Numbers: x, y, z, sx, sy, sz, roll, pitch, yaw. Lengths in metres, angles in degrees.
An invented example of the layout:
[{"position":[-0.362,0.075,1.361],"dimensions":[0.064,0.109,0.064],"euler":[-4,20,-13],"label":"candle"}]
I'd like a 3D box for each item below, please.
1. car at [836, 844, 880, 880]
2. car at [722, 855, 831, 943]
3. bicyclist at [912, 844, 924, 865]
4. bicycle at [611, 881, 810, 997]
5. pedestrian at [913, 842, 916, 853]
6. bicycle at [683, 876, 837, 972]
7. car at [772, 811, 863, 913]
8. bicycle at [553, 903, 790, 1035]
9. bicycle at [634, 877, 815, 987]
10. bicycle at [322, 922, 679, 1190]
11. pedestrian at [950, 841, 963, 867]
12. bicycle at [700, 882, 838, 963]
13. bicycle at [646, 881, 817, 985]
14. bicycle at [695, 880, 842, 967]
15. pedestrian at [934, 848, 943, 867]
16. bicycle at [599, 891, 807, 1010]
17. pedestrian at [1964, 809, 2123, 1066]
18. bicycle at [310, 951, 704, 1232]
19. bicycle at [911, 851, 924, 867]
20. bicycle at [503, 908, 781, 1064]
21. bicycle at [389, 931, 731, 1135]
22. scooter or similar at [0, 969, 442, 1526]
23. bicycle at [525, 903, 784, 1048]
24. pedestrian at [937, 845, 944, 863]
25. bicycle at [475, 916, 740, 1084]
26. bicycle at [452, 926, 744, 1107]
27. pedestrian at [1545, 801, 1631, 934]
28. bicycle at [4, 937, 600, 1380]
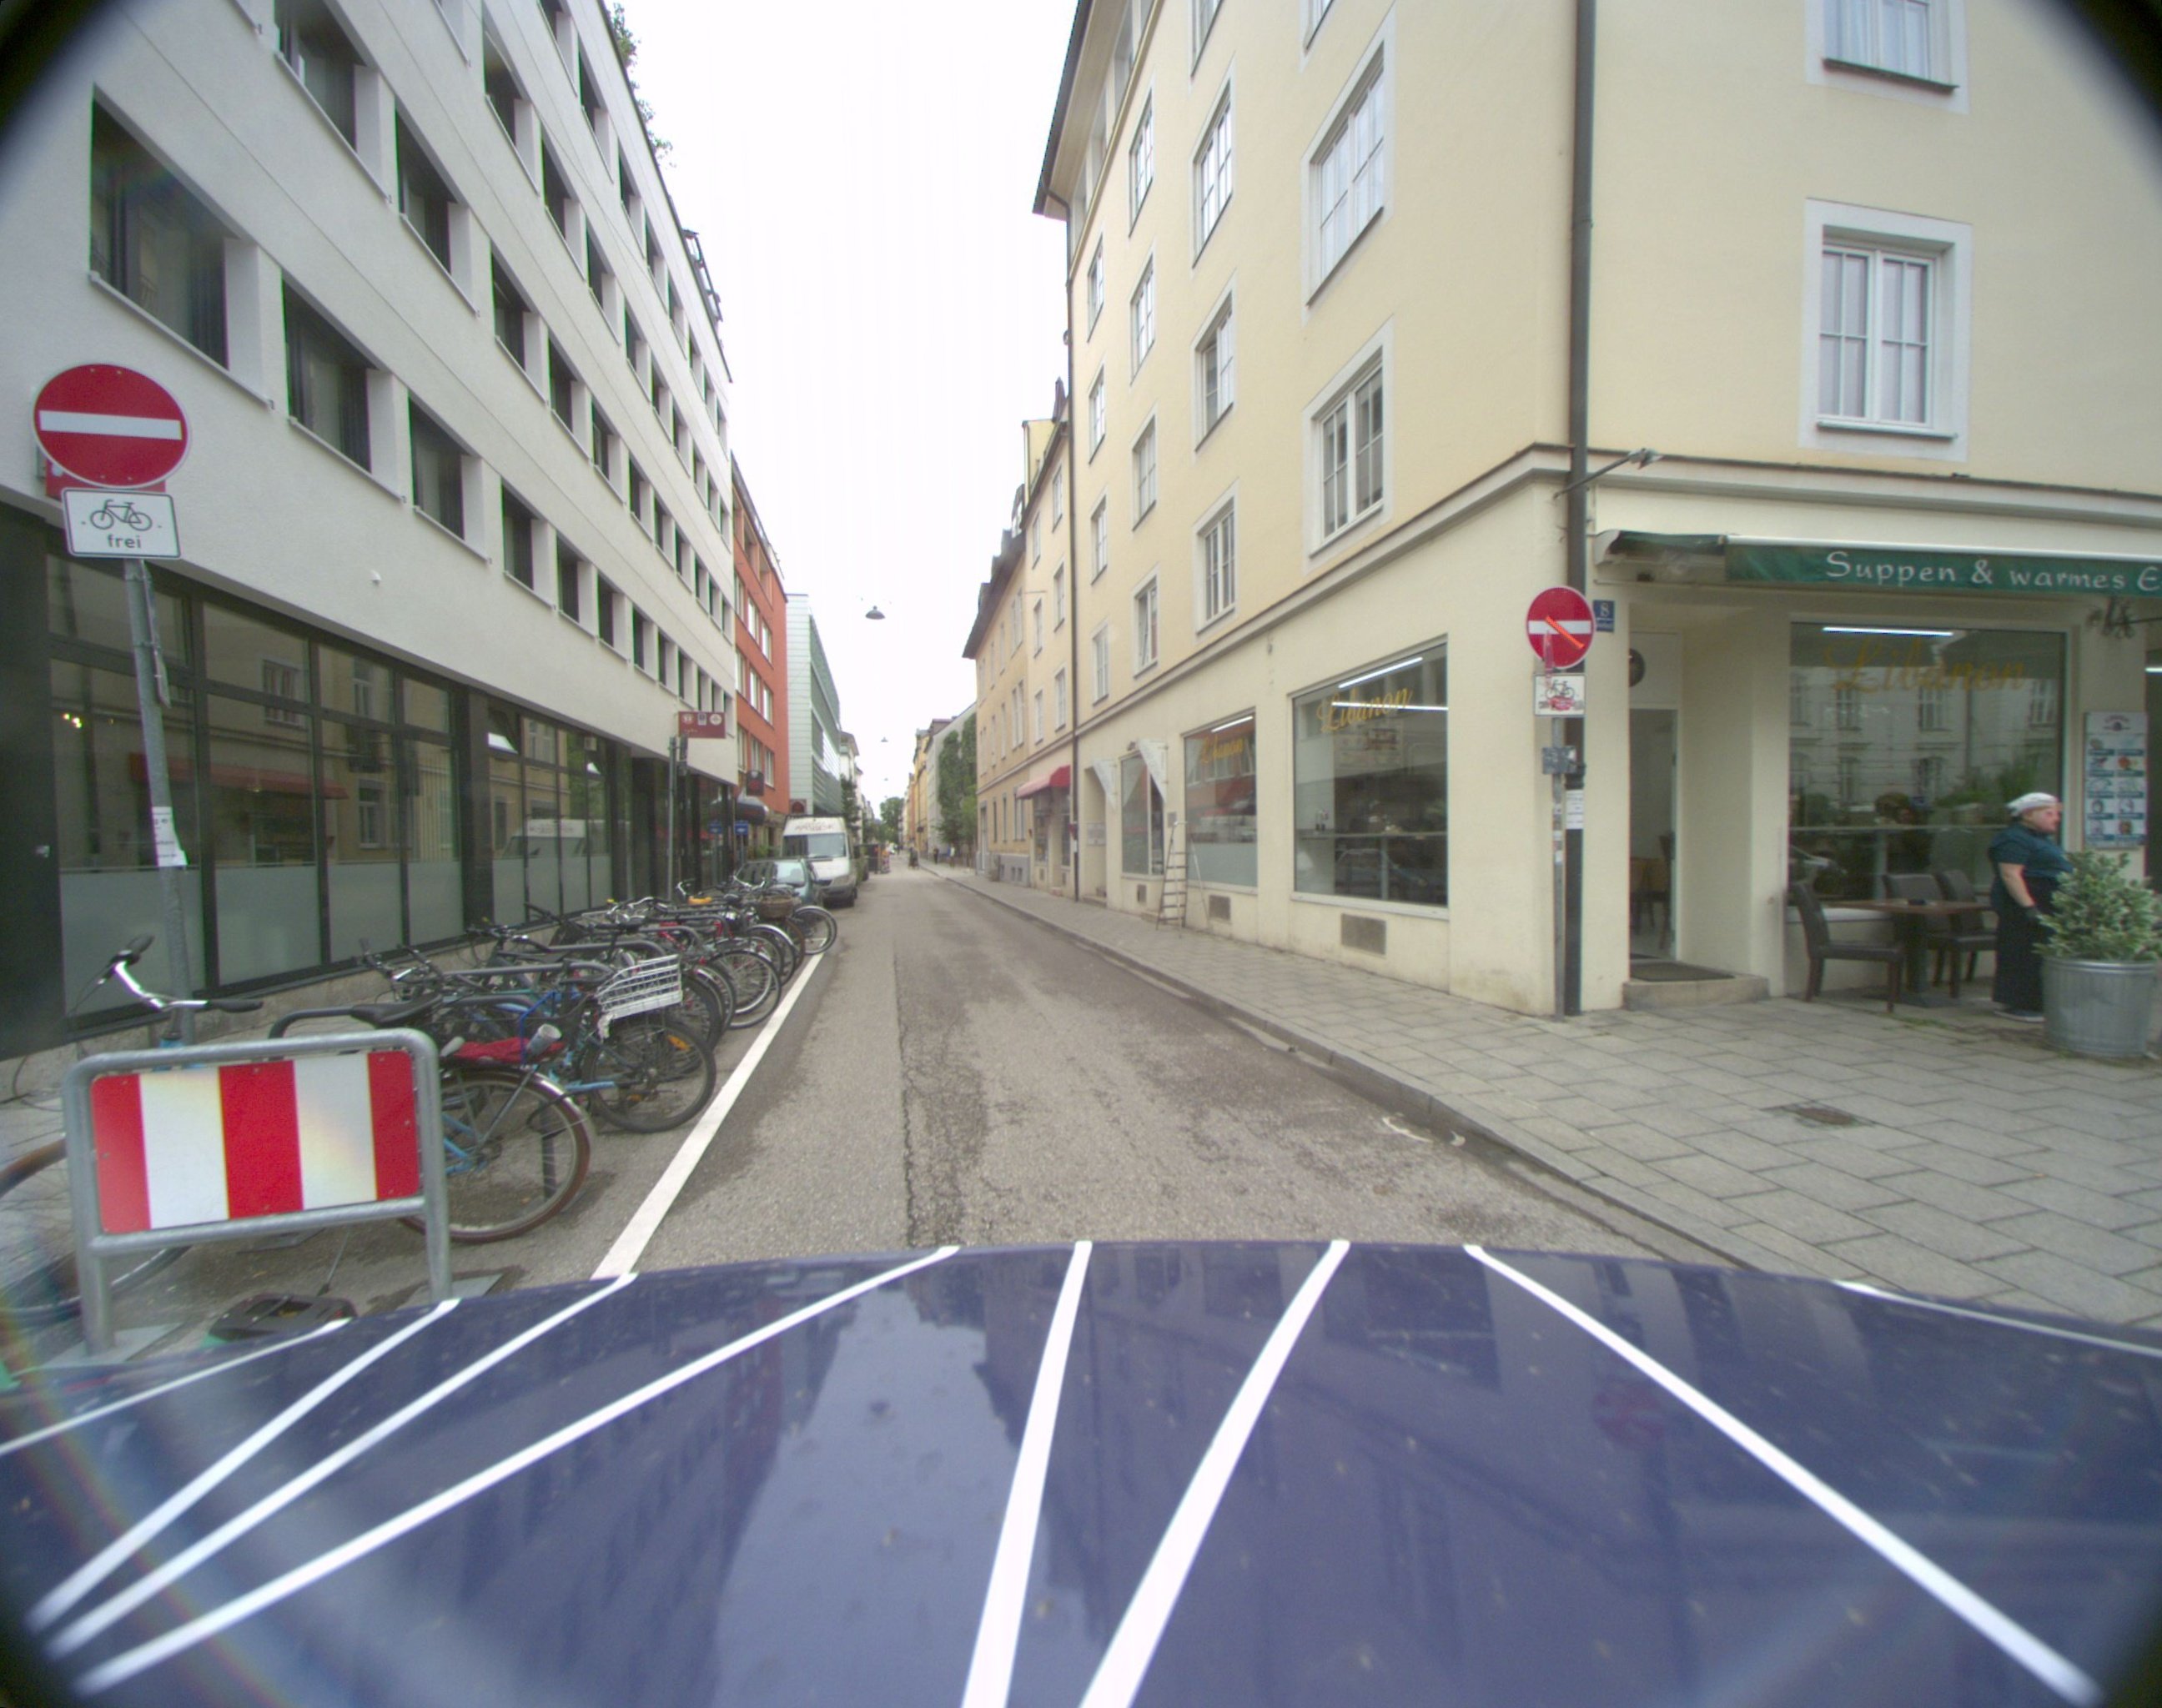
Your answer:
[{"position":[-11.449,0.354,39.168],"dimensions":[1.830,1.700,4.383],"euler":[-2,1,-13],"label":"car"},{"position":[-5.923,0.789,15.140],"dimensions":[1.586,1.456,3.546],"euler":[-1,1,-15],"label":"car"},{"position":[-13.372,0.009,62.171],"dimensions":[0.930,1.711,1.098],"euler":[0,1,-14],"label":"bicyclist"},{"position":[-4.047,0.904,8.452],"dimensions":[1.901,1.163,0.565],"euler":[0,1,-16],"label":"bicycle"},{"position":[-28.167,-1.069,128.681],"dimensions":[0.494,1.814,0.552],"euler":[-1,1,-14],"label":"pedestrian"},{"position":[-4.371,0.932,10.473],"dimensions":[1.881,1.197,0.488],"euler":[-1,0,-16],"label":"bicycle"},{"position":[-7.465,0.163,22.091],"dimensions":[1.927,2.492,5.988],"euler":[-2,1,-15],"label":"car"},{"position":[-3.807,1.051,7.233],"dimensions":[1.881,1.046,0.563],"euler":[-1,3,-17],"label":"bicycle"},{"position":[-4.187,0.892,9.063],"dimensions":[1.881,1.197,0.579],"euler":[0,1,-16],"label":"bicycle"},{"position":[-3.072,1.031,4.163],"dimensions":[1.457,1.201,0.394],"euler":[-2,2,-21],"label":"bicycle"},{"position":[-8.959,-0.018,54.660],"dimensions":[0.862,1.834,0.972],"euler":[-2,2,-12],"label":"pedestrian"},{"position":[-4.801,1.040,11.799],"dimensions":[1.881,1.073,0.488],"euler":[-3,1,-16],"label":"bicycle"},{"position":[-4.426,0.983,9.759],"dimensions":[1.881,1.150,0.564],"euler":[-3,1,-16],"label":"bicycle"},{"position":[-4.468,0.979,10.985],"dimensions":[1.881,1.102,0.488],"euler":[-3,1,-16],"label":"bicycle"},{"position":[-13.871,0.308,73.746],"dimensions":[0.778,1.826,0.990],"euler":[-1,2,-14],"label":"pedestrian"},{"position":[-3.880,0.971,7.936],"dimensions":[1.881,1.089,0.439],"euler":[-1,0,-17],"label":"bicycle"},{"position":[6.558,0.526,5.189],"dimensions":[0.606,1.632,0.537],"euler":[-2,2,-26],"label":"pedestrian"},{"position":[-2.730,1.097,3.784],"dimensions":[1.457,1.063,0.462],"euler":[-2,2,-21],"label":"bicycle"},{"position":[-13.475,0.414,62.532],"dimensions":[0.935,1.250,2.410],"euler":[0,1,-14],"label":"bicycle"},{"position":[-3.462,1.019,6.147],"dimensions":[1.881,1.073,0.408],"euler":[-1,0,-17],"label":"bicycle"},{"position":[-3.269,1.099,4.922],"dimensions":[1.747,1.073,0.451],"euler":[-1,0,-17],"label":"bicycle"},{"position":[-2.583,0.965,1.960],"dimensions":[1.357,1.203,0.417],"euler":[-1,2,-12],"label":"scooter or similar"},{"position":[-3.603,1.004,6.564],"dimensions":[1.881,1.073,0.402],"euler":[-1,0,-17],"label":"bicycle"},{"position":[-13.125,0.026,71.116],"dimensions":[0.554,1.650,0.996],"euler":[-1,2,-14],"label":"pedestrian"},{"position":[-3.473,1.047,5.693],"dimensions":[1.619,1.073,0.377],"euler":[-1,0,-17],"label":"bicycle"},{"position":[-3.313,1.091,5.337],"dimensions":[1.681,1.073,0.335],"euler":[-1,0,-17],"label":"bicycle"},{"position":[6.843,0.168,10.294],"dimensions":[0.757,1.715,0.770],"euler":[1,2,19],"label":"pedestrian"},{"position":[-2.673,1.000,2.758],"dimensions":[1.462,1.278,0.445],"euler":[-2,2,-13],"label":"bicycle"}]
